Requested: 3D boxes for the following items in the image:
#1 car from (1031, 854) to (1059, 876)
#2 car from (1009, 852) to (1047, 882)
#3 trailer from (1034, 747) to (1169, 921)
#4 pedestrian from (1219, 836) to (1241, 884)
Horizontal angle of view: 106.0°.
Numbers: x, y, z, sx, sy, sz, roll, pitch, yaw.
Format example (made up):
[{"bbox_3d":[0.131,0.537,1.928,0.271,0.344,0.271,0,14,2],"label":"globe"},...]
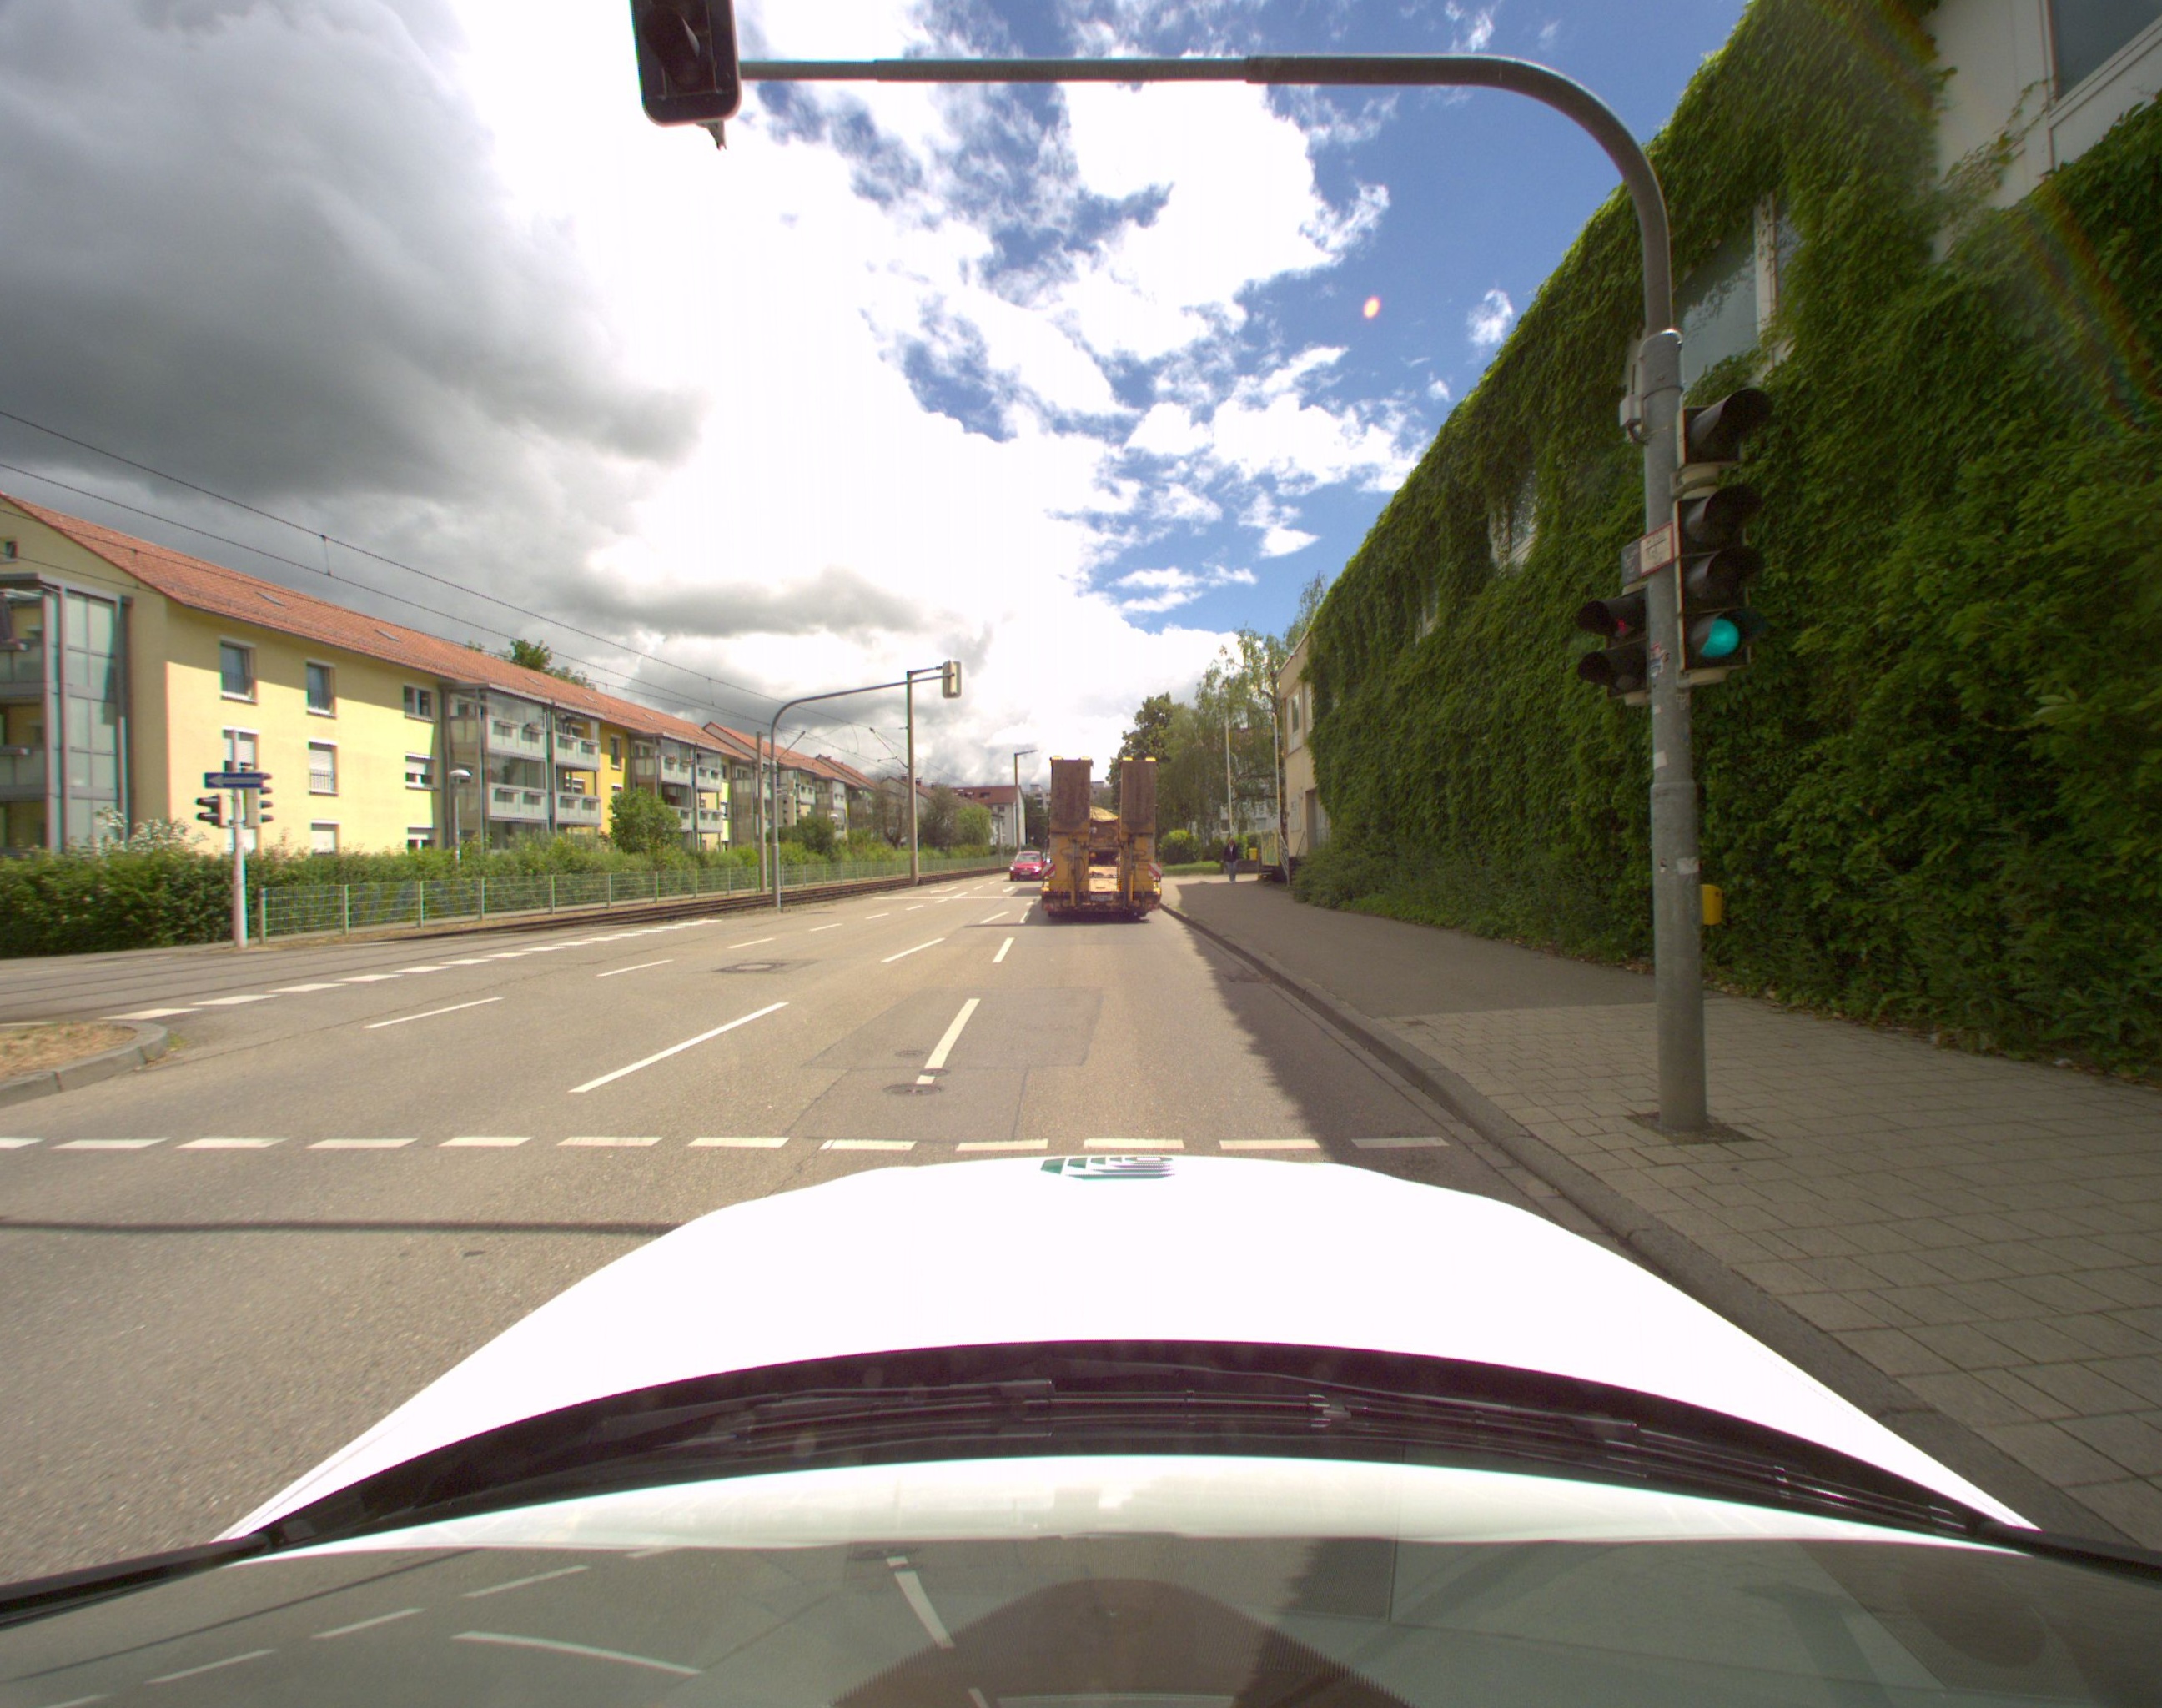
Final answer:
[{"bbox_3d":[-2.595,0.776,59.450,1.754,1.552,4.000,-1,0,1],"label":"car"},{"bbox_3d":[-2.822,0.675,44.137,1.657,1.552,4.002,0,0,2],"label":"car"},{"bbox_3d":[0.277,-0.412,23.271,2.819,3.646,12.345,0,0,-2],"label":"trailer"},{"bbox_3d":[5.552,0.211,30.423,0.804,1.771,0.818,0,0,9],"label":"pedestrian"}]
